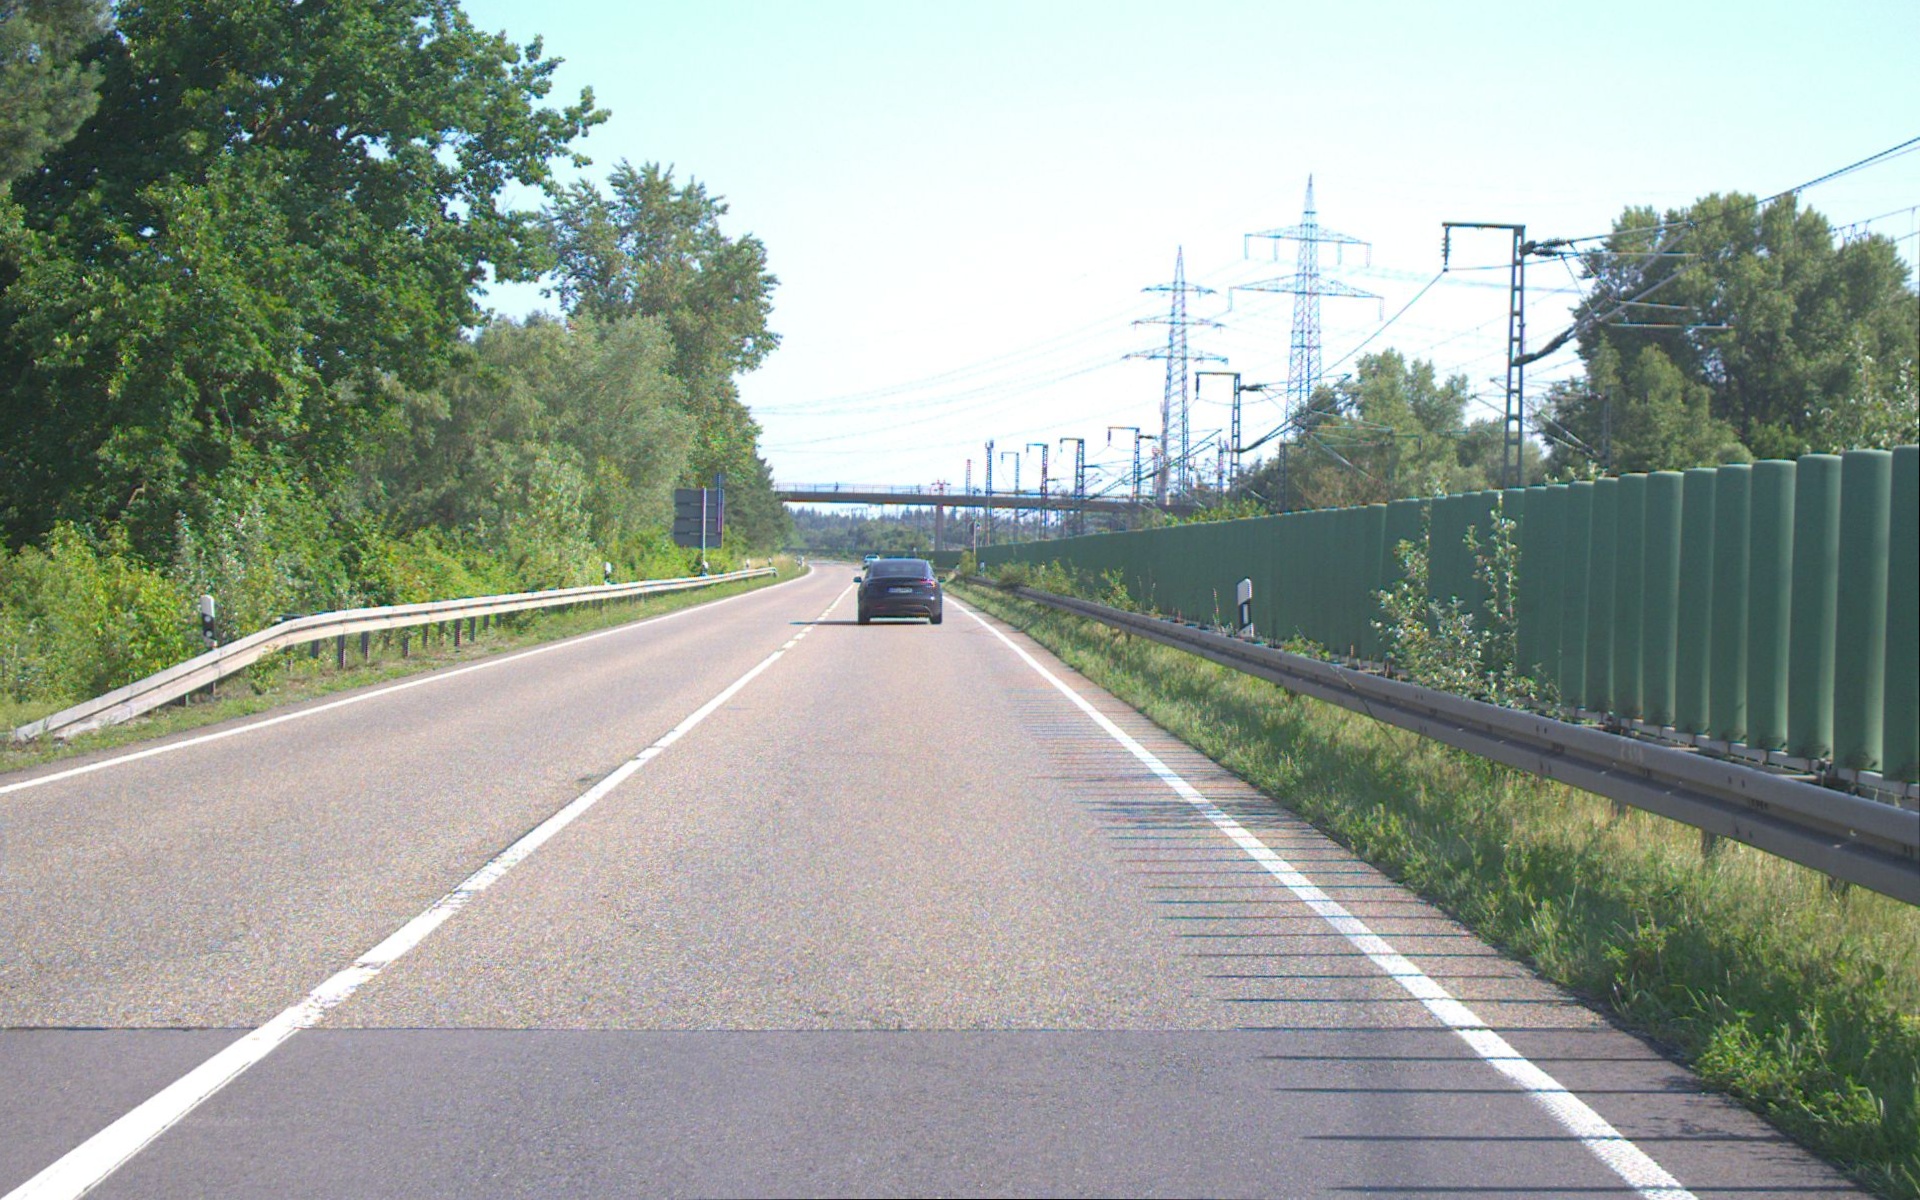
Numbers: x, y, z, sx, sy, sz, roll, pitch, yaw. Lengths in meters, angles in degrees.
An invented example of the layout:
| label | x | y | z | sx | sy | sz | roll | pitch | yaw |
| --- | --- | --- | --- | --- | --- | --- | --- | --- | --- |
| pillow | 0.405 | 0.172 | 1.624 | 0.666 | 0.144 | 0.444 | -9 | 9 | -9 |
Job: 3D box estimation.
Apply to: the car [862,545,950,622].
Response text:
| label | x | y | z | sx | sy | sz | roll | pitch | yaw |
| --- | --- | --- | --- | --- | --- | --- | --- | --- | --- |
| car | -1.221 | -0.393 | 76.008 | 1.858 | 1.636 | 4.000 | -1 | 1 | -2 |
